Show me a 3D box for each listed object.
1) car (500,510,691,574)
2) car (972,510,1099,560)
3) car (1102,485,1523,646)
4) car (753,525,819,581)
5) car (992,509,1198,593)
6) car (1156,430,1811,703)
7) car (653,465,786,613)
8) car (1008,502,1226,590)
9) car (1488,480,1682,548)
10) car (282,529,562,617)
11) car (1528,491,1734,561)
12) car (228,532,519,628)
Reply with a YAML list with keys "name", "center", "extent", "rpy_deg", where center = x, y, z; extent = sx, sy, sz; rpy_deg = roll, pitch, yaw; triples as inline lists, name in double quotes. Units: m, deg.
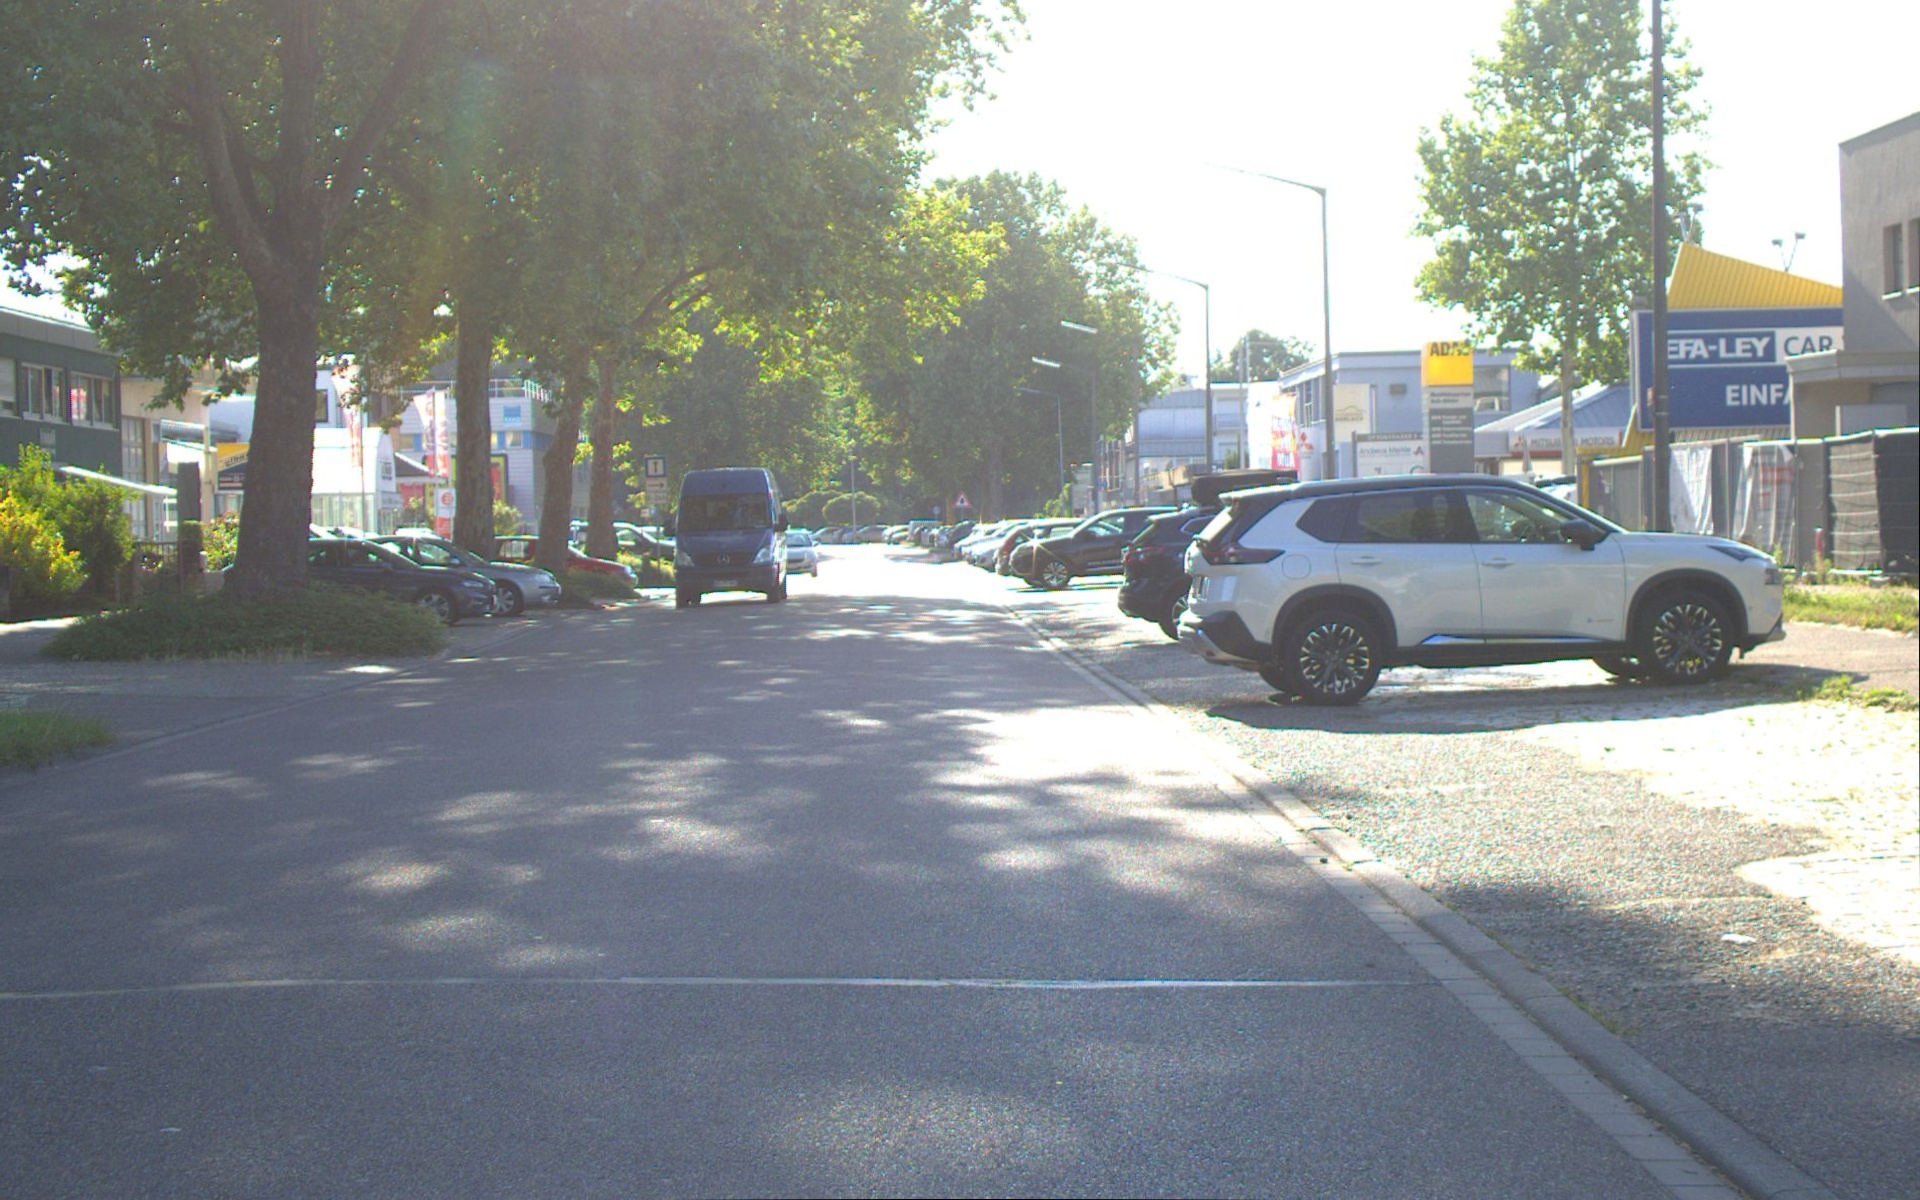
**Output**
- name: "car"
  center: [-8.533, -1.360, 80.793]
  extent: [4.296, 1.441, 2.000]
  rpy_deg: [0, 1, -1]
- name: "car"
  center: [2.859, -2.482, 131.183]
  extent: [4.554, 1.592, 2.202]
  rpy_deg: [-4, 1, -4]
- name: "car"
  center: [4.113, -0.411, 40.649]
  extent: [4.624, 1.521, 2.000]
  rpy_deg: [-4, 1, -2]
- name: "car"
  center: [-5.227, -1.419, 103.624]
  extent: [1.838, 1.565, 3.802]
  rpy_deg: [-3, 1, -1]
- name: "car"
  center: [3.134, -1.147, 80.465]
  extent: [4.600, 1.607, 2.000]
  rpy_deg: [-4, 1, -1]
- name: "car"
  center: [3.989, -0.265, 26.753]
  extent: [4.624, 1.706, 2.000]
  rpy_deg: [-4, 1, -2]
- name: "car"
  center: [-4.590, -1.231, 66.564]
  extent: [2.127, 2.650, 7.002]
  rpy_deg: [-2, 2, -1]
- name: "car"
  center: [3.400, -1.174, 75.188]
  extent: [4.601, 1.574, 2.000]
  rpy_deg: [-4, 1, 1]
- name: "car"
  center: [14.212, -1.937, 78.303]
  extent: [3.986, 1.514, 1.954]
  rpy_deg: [0, 1, -5]
- name: "car"
  center: [-9.405, -0.480, 60.383]
  extent: [4.599, 1.417, 2.000]
  rpy_deg: [-1, 2, -1]
- name: "car"
  center: [14.545, -1.592, 74.678]
  extent: [3.986, 1.492, 2.000]
  rpy_deg: [0, 1, -5]
- name: "car"
  center: [-9.324, -0.328, 54.894]
  extent: [4.353, 1.417, 2.000]
  rpy_deg: [-1, 2, -3]
